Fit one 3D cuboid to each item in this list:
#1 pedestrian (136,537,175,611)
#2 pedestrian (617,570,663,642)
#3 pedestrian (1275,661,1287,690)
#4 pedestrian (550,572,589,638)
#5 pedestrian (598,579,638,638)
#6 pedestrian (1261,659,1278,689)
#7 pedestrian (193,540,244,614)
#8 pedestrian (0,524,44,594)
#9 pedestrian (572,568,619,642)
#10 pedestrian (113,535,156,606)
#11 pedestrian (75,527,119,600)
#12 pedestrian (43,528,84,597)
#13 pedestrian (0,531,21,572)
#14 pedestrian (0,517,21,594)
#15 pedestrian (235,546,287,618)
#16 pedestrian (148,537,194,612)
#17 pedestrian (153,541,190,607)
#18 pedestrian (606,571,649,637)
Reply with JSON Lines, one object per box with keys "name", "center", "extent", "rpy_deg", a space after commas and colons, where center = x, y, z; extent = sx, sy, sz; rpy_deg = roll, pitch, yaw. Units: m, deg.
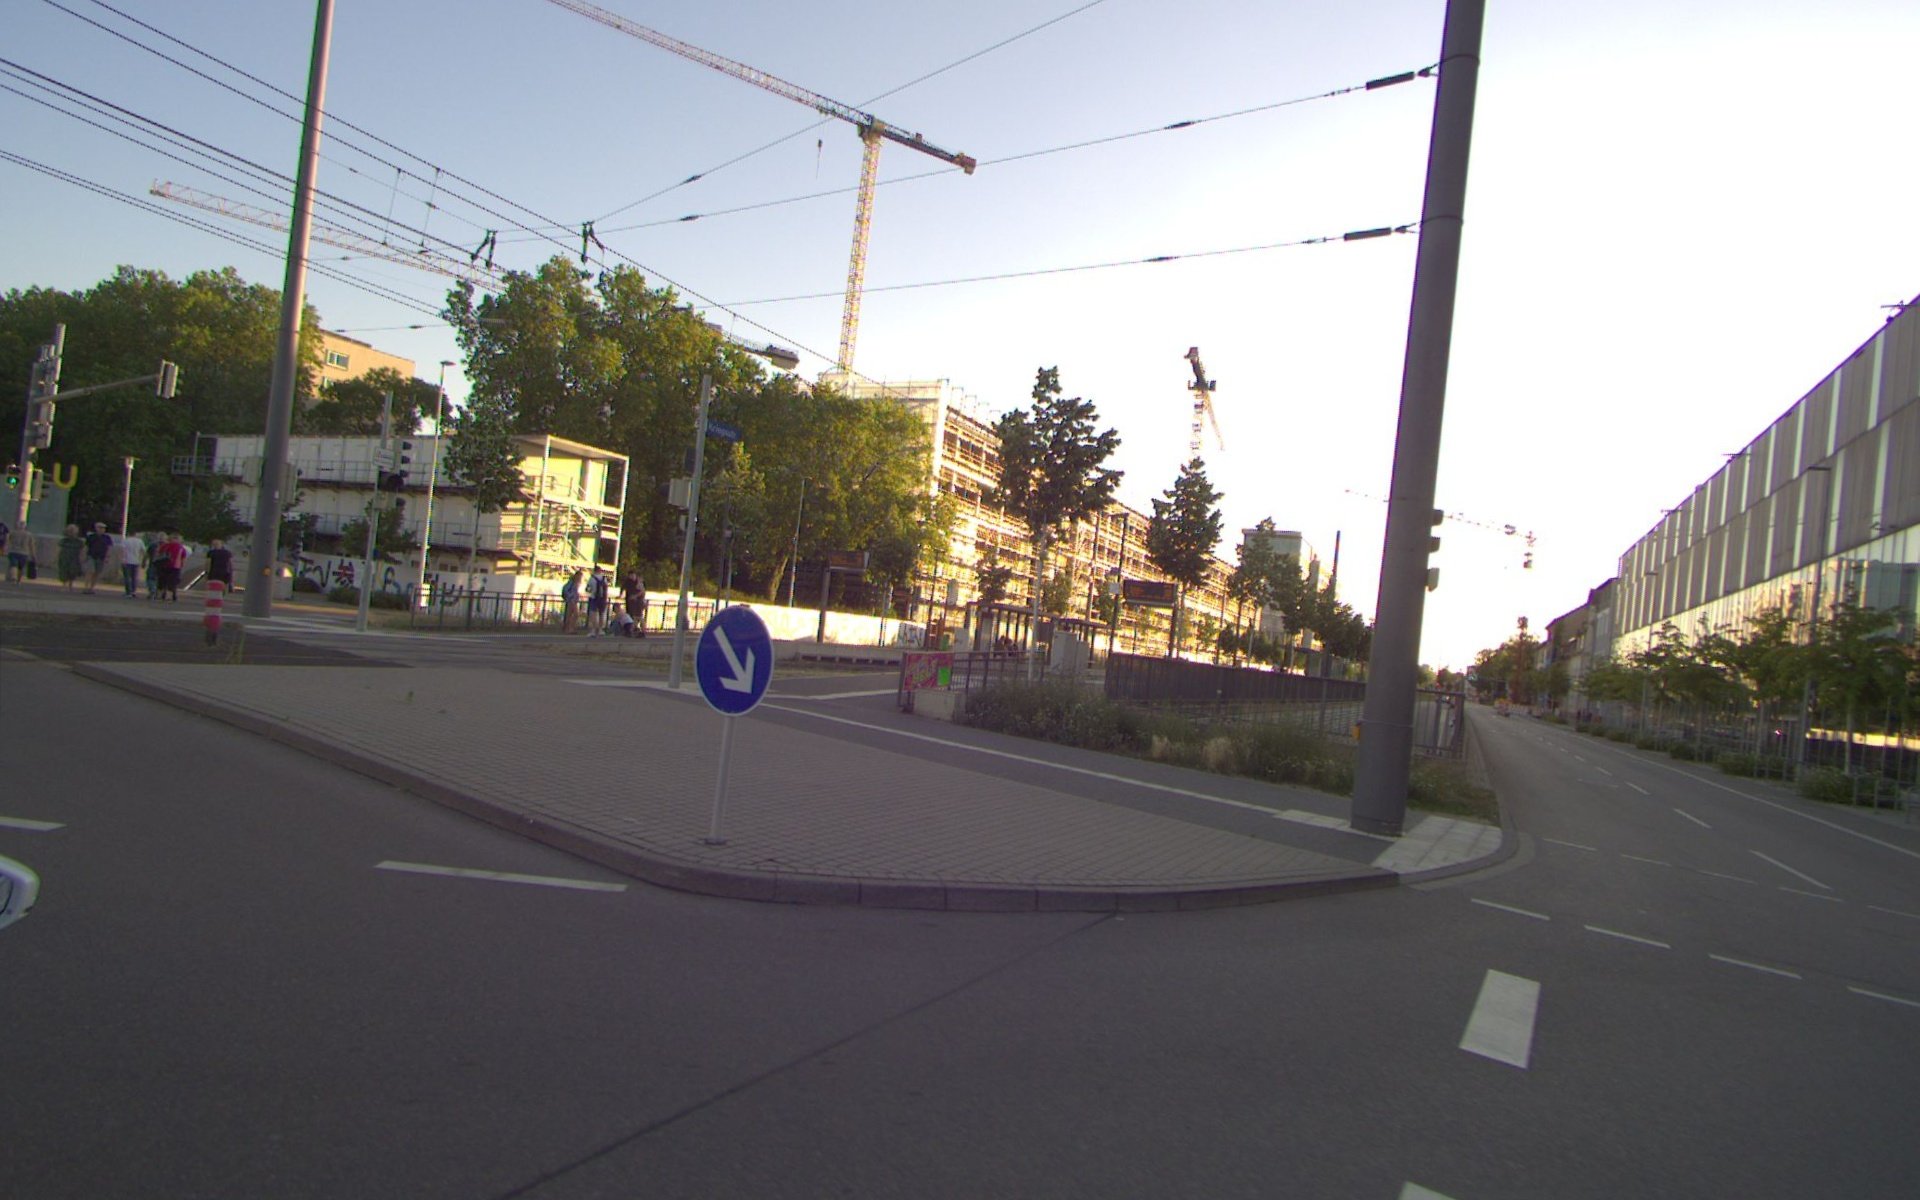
{"name": "pedestrian", "center": [-20.672, -0.677, 25.852], "extent": [0.631, 1.813, 0.571], "rpy_deg": [6, -1, 45]}
{"name": "pedestrian", "center": [-8.246, 0.154, 25.915], "extent": [0.659, 1.745, 0.710], "rpy_deg": [6, -1, 42]}
{"name": "pedestrian", "center": [19.118, 4.479, 59.823], "extent": [0.396, 1.689, 0.448], "rpy_deg": [6, -1, 37]}
{"name": "pedestrian", "center": [-10.004, 0.133, 25.782], "extent": [0.527, 1.611, 0.572], "rpy_deg": [6, -1, 31]}
{"name": "pedestrian", "center": [-8.939, 0.220, 26.265], "extent": [0.672, 1.458, 0.707], "rpy_deg": [7, -1, -37]}
{"name": "pedestrian", "center": [18.546, 4.446, 60.259], "extent": [0.657, 1.689, 0.574], "rpy_deg": [6, -1, 37]}
{"name": "pedestrian", "center": [-19.518, -0.603, 26.482], "extent": [0.790, 1.813, 0.803], "rpy_deg": [6, -1, 43]}
{"name": "pedestrian", "center": [-24.779, -1.090, 26.568], "extent": [0.708, 1.745, 0.660], "rpy_deg": [7, -1, -42]}
{"name": "pedestrian", "center": [-9.108, 0.116, 25.127], "extent": [0.659, 1.745, 0.709], "rpy_deg": [6, -1, 43]}
{"name": "pedestrian", "center": [-21.646, -0.772, 26.392], "extent": [0.708, 1.745, 0.905], "rpy_deg": [7, -1, -39]}
{"name": "pedestrian", "center": [-22.235, -0.940, 25.934], "extent": [0.676, 1.778, 0.893], "rpy_deg": [7, -1, -38]}
{"name": "pedestrian", "center": [-22.757, -0.958, 25.549], "extent": [0.557, 1.674, 0.893], "rpy_deg": [7, -1, -38]}
{"name": "pedestrian", "center": [-45.270, -2.300, 47.833], "extent": [0.702, 1.864, 0.666], "rpy_deg": [6, -1, 36]}
{"name": "pedestrian", "center": [-22.615, -1.085, 23.536], "extent": [0.902, 1.745, 0.710], "rpy_deg": [6, -1, 42]}
{"name": "pedestrian", "center": [-18.806, -0.483, 27.073], "extent": [0.789, 1.813, 0.804], "rpy_deg": [6, -1, 39]}
{"name": "pedestrian", "center": [-19.604, -0.645, 24.993], "extent": [0.701, 1.755, 0.837], "rpy_deg": [7, -1, -43]}
{"name": "pedestrian", "center": [-21.174, -0.700, 27.017], "extent": [0.631, 1.699, 0.571], "rpy_deg": [6, -1, 45]}
{"name": "pedestrian", "center": [-9.282, 0.119, 28.082], "extent": [0.657, 1.745, 0.712], "rpy_deg": [6, -1, 28]}
